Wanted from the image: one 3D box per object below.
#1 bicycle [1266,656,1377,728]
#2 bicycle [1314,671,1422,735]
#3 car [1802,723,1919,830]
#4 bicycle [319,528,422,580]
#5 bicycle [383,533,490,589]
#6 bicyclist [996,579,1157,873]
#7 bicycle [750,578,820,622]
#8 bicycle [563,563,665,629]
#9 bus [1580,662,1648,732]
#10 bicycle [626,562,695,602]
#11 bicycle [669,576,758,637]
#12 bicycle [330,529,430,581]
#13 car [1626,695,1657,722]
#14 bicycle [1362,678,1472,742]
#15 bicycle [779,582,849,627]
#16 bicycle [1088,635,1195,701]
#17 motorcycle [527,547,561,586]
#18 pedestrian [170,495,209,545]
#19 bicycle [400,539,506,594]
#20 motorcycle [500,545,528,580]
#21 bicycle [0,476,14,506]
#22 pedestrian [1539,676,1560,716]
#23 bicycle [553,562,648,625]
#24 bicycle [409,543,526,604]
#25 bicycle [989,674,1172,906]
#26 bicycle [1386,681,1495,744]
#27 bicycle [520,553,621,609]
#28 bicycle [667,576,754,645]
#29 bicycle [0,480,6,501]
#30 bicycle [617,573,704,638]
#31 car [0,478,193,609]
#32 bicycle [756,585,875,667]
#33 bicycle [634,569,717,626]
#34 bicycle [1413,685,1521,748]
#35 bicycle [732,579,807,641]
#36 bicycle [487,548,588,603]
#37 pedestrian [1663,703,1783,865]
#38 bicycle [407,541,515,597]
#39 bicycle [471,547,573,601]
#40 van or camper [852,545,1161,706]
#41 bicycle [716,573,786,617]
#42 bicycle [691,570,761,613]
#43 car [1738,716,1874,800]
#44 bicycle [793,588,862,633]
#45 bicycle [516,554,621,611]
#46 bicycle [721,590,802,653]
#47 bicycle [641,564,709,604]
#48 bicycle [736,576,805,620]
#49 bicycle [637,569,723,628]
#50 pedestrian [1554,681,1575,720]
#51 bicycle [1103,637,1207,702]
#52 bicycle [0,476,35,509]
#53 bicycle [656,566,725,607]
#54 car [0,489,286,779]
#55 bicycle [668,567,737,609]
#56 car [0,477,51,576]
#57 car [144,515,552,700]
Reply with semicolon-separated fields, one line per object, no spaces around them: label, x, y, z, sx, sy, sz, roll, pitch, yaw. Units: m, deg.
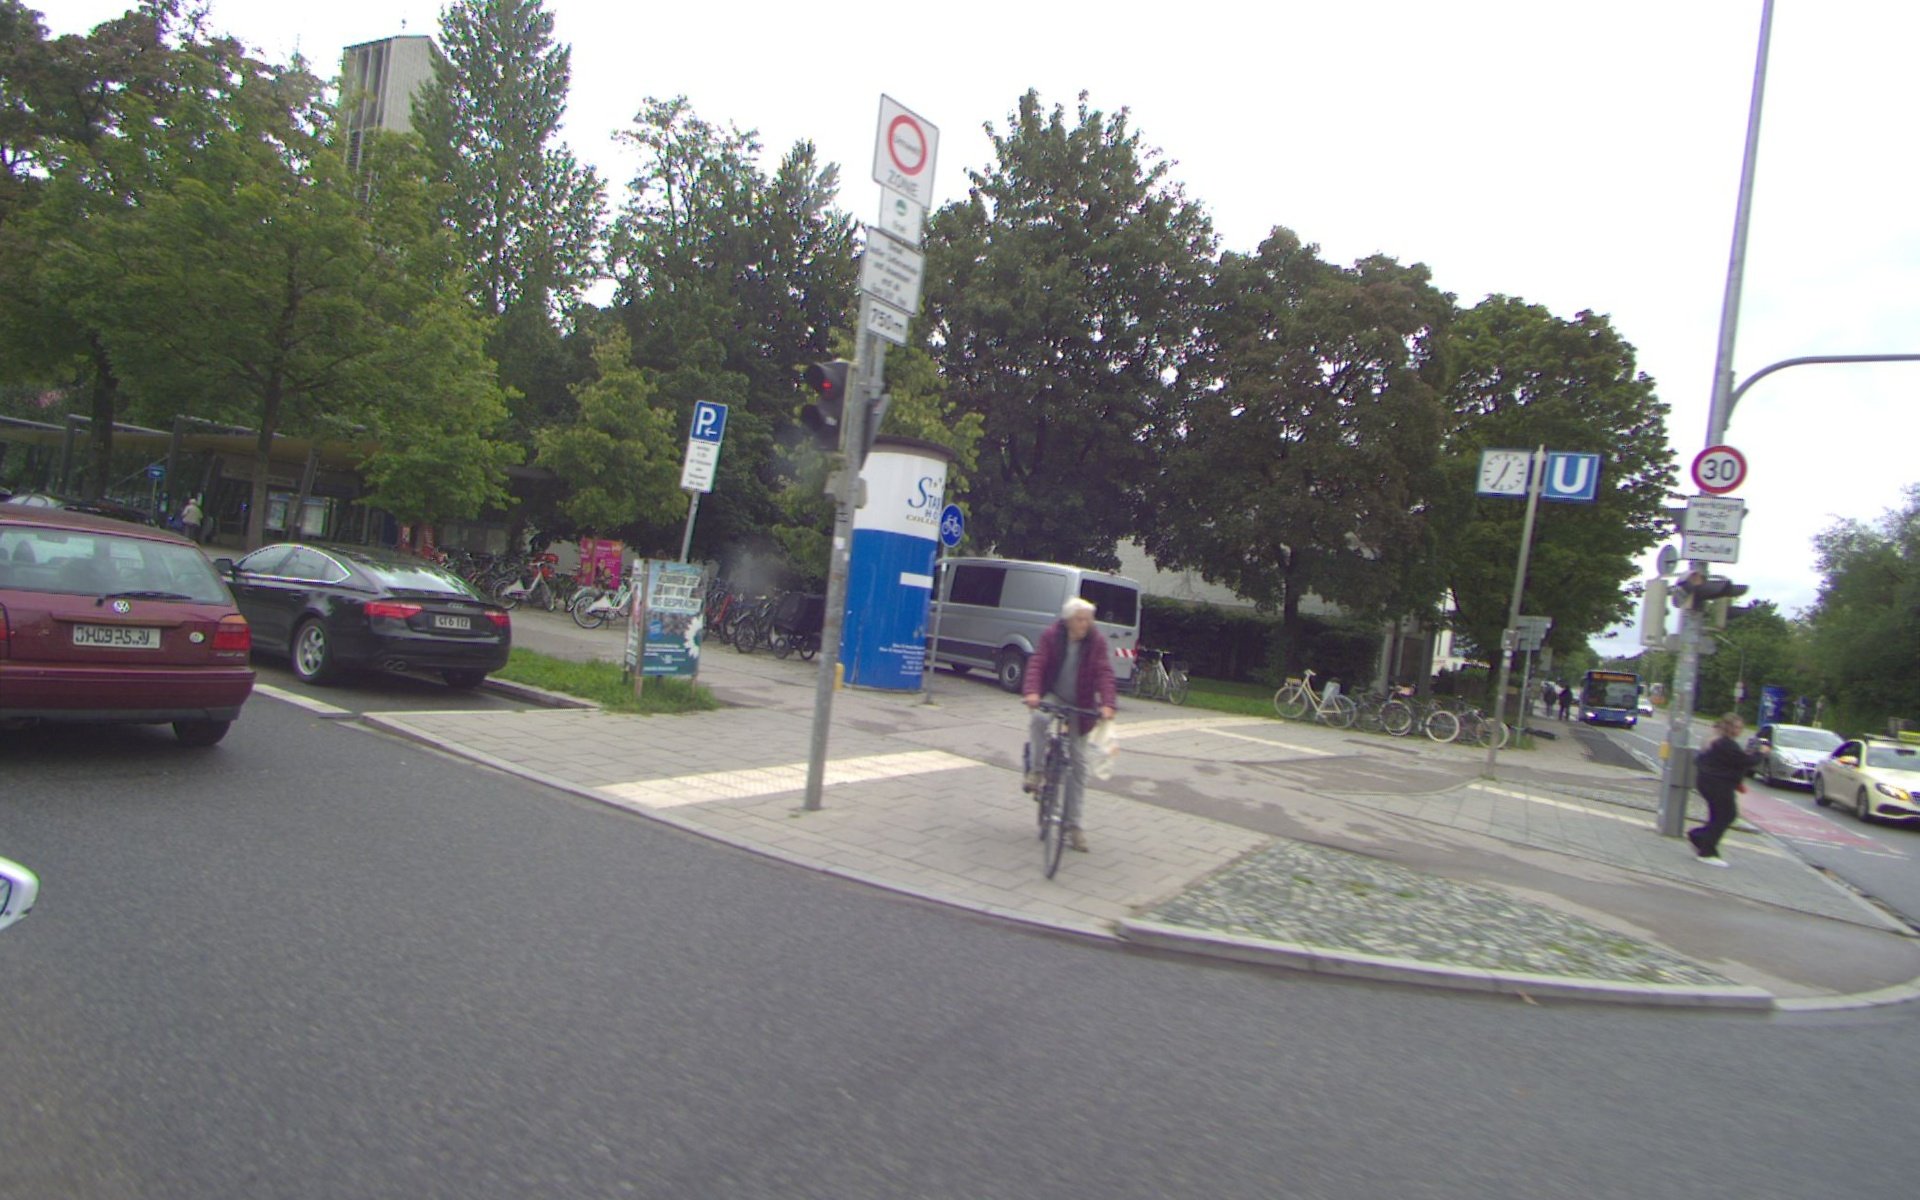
bicycle;7.985;2.028;22.294;2.074;1.266;0.703;7;1;5
bicycle;9.265;2.320;22.910;2.083;1.108;0.607;7;1;40
car;17.439;3.270;18.582;1.854;1.516;4.309;7;0;28
bicycle;-15.601;-1.205;26.716;0.520;1.173;2.339;8;3;31
bicycle;-12.861;-0.939;24.786;0.520;1.173;2.339;8;3;31
bicyclist;0.753;0.803;6.766;0.733;1.786;0.827;7;1;-4
bicycle;-5.127;0.019;29.630;0.520;1.173;2.339;8;3;31
bicycle;-6.903;-0.067;20.145;0.559;1.157;1.803;8;2;40
bus;38.031;5.561;58.387;2.689;3.322;11.860;8;0;34
bicycle;-9.823;-0.582;33.095;0.520;1.173;2.339;8;3;31
bicycle;-5.225;0.159;21.381;0.558;1.157;1.805;8;2;36
bicycle;-14.963;-1.128;26.041;0.519;1.173;2.342;7;2;23
car;60.801;9.634;89.810;1.967;2.038;3.991;7;0;33
bicycle;10.442;2.506;23.041;2.084;1.108;0.607;7;1;41
bicycle;-4.181;0.141;28.971;0.520;1.173;2.339;8;3;31
bicycle;4.012;1.492;22.308;2.094;1.168;0.716;7;1;34
motorcycle;-14.063;-1.143;33.957;0.652;1.192;1.797;6;1;-33
pedestrian;-25.496;-2.642;33.298;0.681;1.532;0.580;7;1;13
bicycle;-12.352;-0.788;24.609;0.520;1.173;2.339;8;3;31
motorcycle;-14.904;-1.257;33.654;0.649;1.075;1.805;7;1;-20
bicycle;-43.630;-4.987;45.402;2.508;1.296;0.646;7;1;32
pedestrian;28.597;4.679;48.790;0.599;1.850;0.704;8;1;40
bicycle;-7.508;-0.122;21.082;0.558;1.157;1.805;8;2;36
bicycle;-10.912;-0.563;22.401;0.575;1.173;2.339;8;3;31
bicycle;0.711;1.150;6.660;0.734;1.094;1.946;7;0;-4
bicycle;11.175;2.604;23.444;2.083;1.108;0.607;7;1;40
bicycle;-9.353;-0.433;24.262;0.575;1.173;2.339;8;3;31
bicycle;-4.836;0.205;19.643;0.557;1.228;1.944;7;2;20
bicycle;-52.957;-6.043;53.916;0.636;1.102;2.545;7;0;31
bicycle;-5.801;0.115;19.569;0.557;1.157;1.810;7;2;20
car;-13.655;-0.945;15.176;4.307;1.567;1.715;7;0;30
bicycle;-2.599;0.457;18.004;1.968;1.214;0.861;7;2;36
bicycle;-6.406;-0.041;22.718;0.558;1.157;1.807;8;2;32
bicycle;11.917;2.717;23.686;2.083;1.108;0.607;7;1;40
bicycle;-4.069;0.221;21.631;0.557;1.228;1.944;7;2;20
bicycle;-10.327;-0.571;24.678;0.575;1.173;2.339;8;3;31
pedestrian;8.147;1.936;10.740;0.687;1.558;0.729;6;1;-39
bicycle;-11.968;-0.724;24.204;0.520;1.173;2.339;8;3;31
bicycle;-10.838;-0.617;24.989;0.575;1.173;2.339;8;3;31
van or camper;0.645;0.357;19.409;2.133;2.325;6.127;7;0;-41
bicycle;-6.280;-0.131;30.396;0.520;1.173;2.339;8;3;31
bicycle;-7.171;-0.248;30.918;0.520;1.173;2.339;8;3;31
car;20.430;3.753;24.470;1.599;1.472;3.944;7;0;29
bicycle;-3.736;0.308;28.610;0.520;1.173;2.339;8;3;31
bicycle;-9.089;-0.390;23.466;0.575;1.173;2.339;8;3;31
bicycle;-3.750;0.404;19.164;0.557;1.085;1.810;7;2;20
bicycle;-9.268;-0.508;32.814;0.520;1.173;2.339;8;3;31
bicycle;-5.640;-0.045;30.088;0.520;1.173;2.339;8;3;31
bicycle;-6.106;-0.011;22.022;0.558;1.157;1.807;8;2;32
pedestrian;30.034;4.995;49.970;0.599;1.850;0.704;8;1;41
bicycle;4.420;1.564;22.908;2.094;1.168;0.696;7;1;34
bicycle;-43.239;-4.934;46.004;2.508;1.296;0.646;7;1;32
bicycle;-8.560;-0.422;32.084;0.520;1.173;2.339;8;3;31
car;-6.365;0.022;6.611;3.883;1.472;1.624;7;0;31
bicycle;-8.100;-0.364;31.723;0.520;1.173;2.339;8;3;31
car;-17.907;-1.492;17.535;4.564;1.567;1.749;8;2;31
car;-6.740;0.047;10.956;4.542;1.376;1.714;7;-1;30
